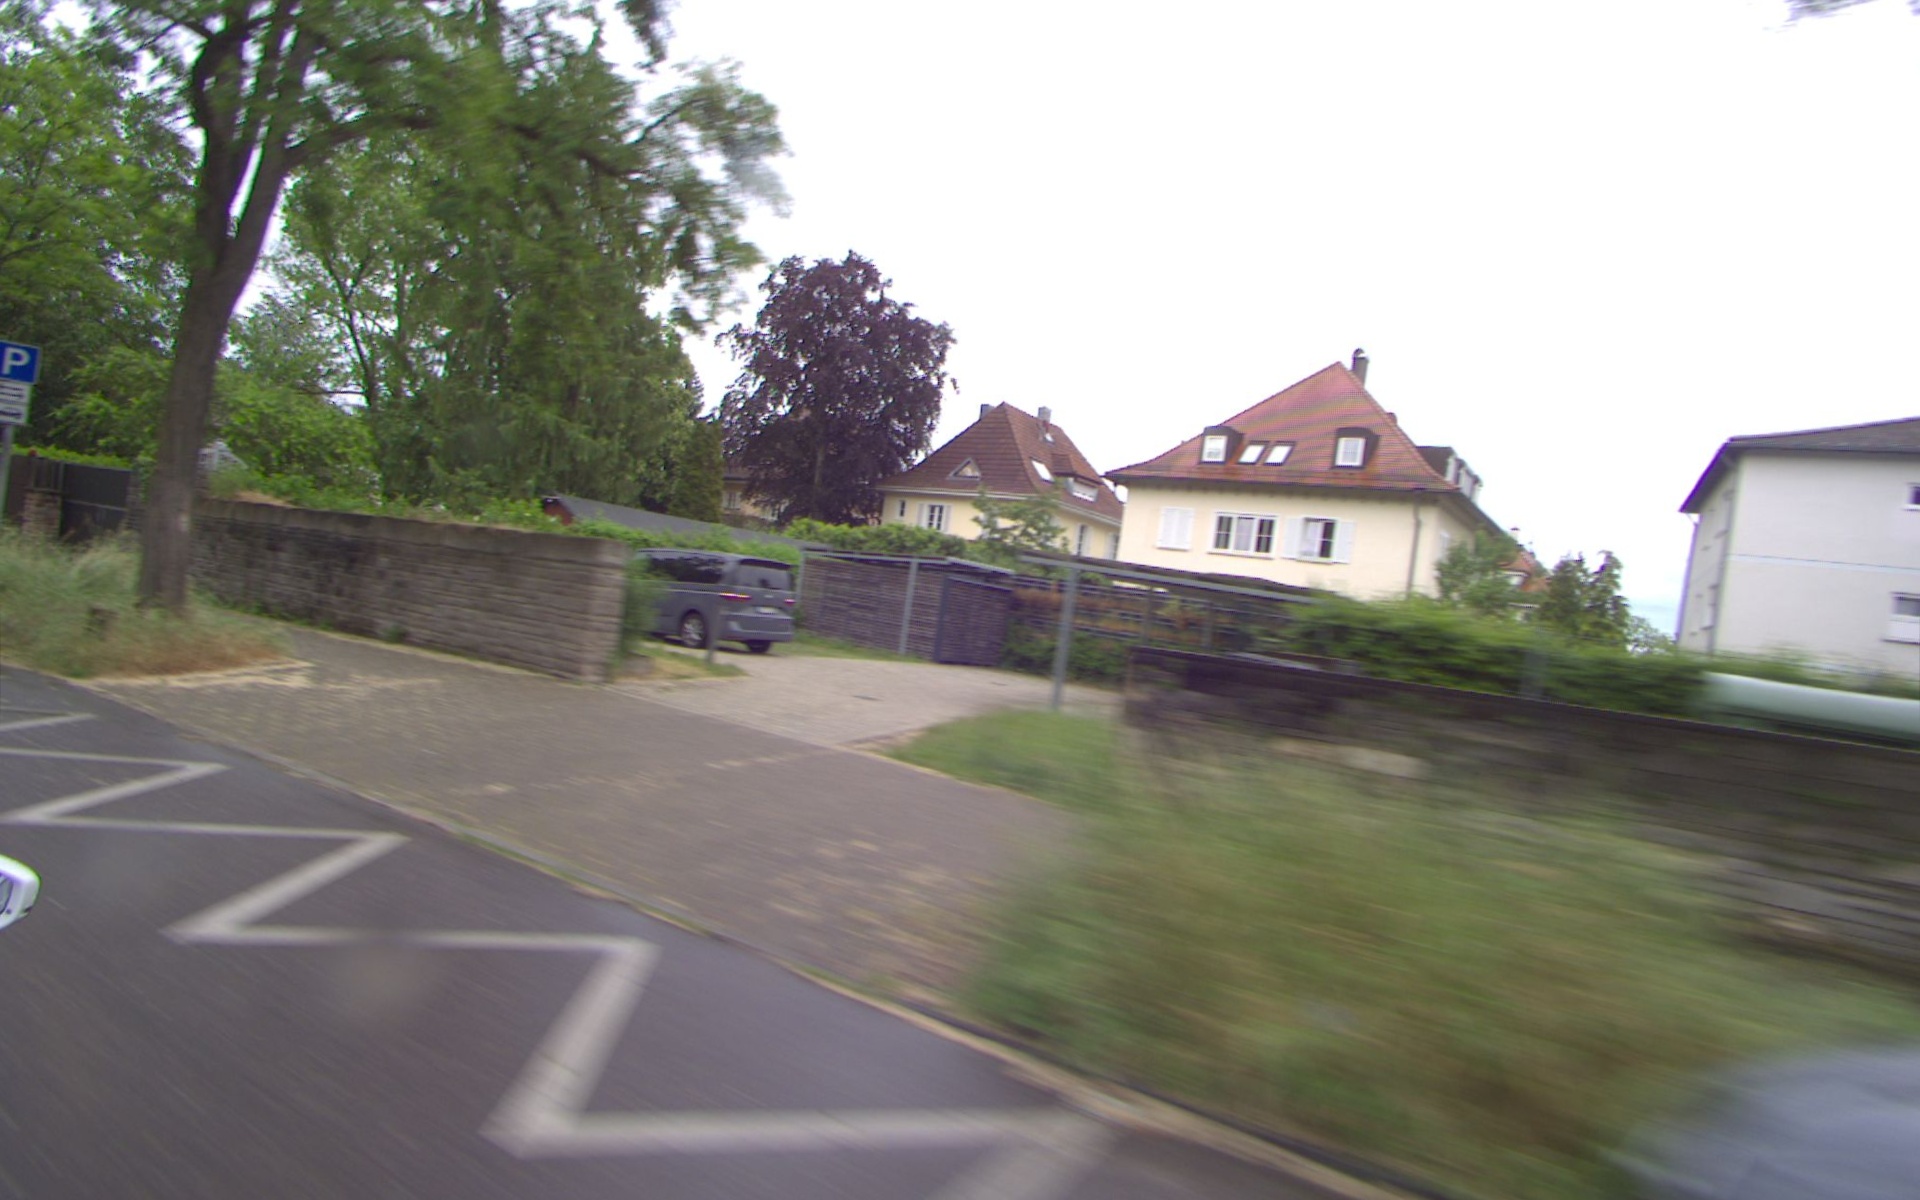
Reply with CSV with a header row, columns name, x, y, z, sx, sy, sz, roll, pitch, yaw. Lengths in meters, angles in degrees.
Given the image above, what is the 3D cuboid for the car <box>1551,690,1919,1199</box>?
name,x,y,z,sx,sy,sz,roll,pitch,yaw
car,2.932,1.167,0.964,3.895,1.496,1.745,8,-1,29

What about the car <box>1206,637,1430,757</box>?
name,x,y,z,sx,sy,sz,roll,pitch,yaw
car,7.105,1.902,20.077,3.710,1.708,1.733,8,-1,37

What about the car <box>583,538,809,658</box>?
name,x,y,z,sx,sy,sz,roll,pitch,yaw
car,-5.315,-0.052,20.101,4.185,1.832,1.832,7,-1,32
